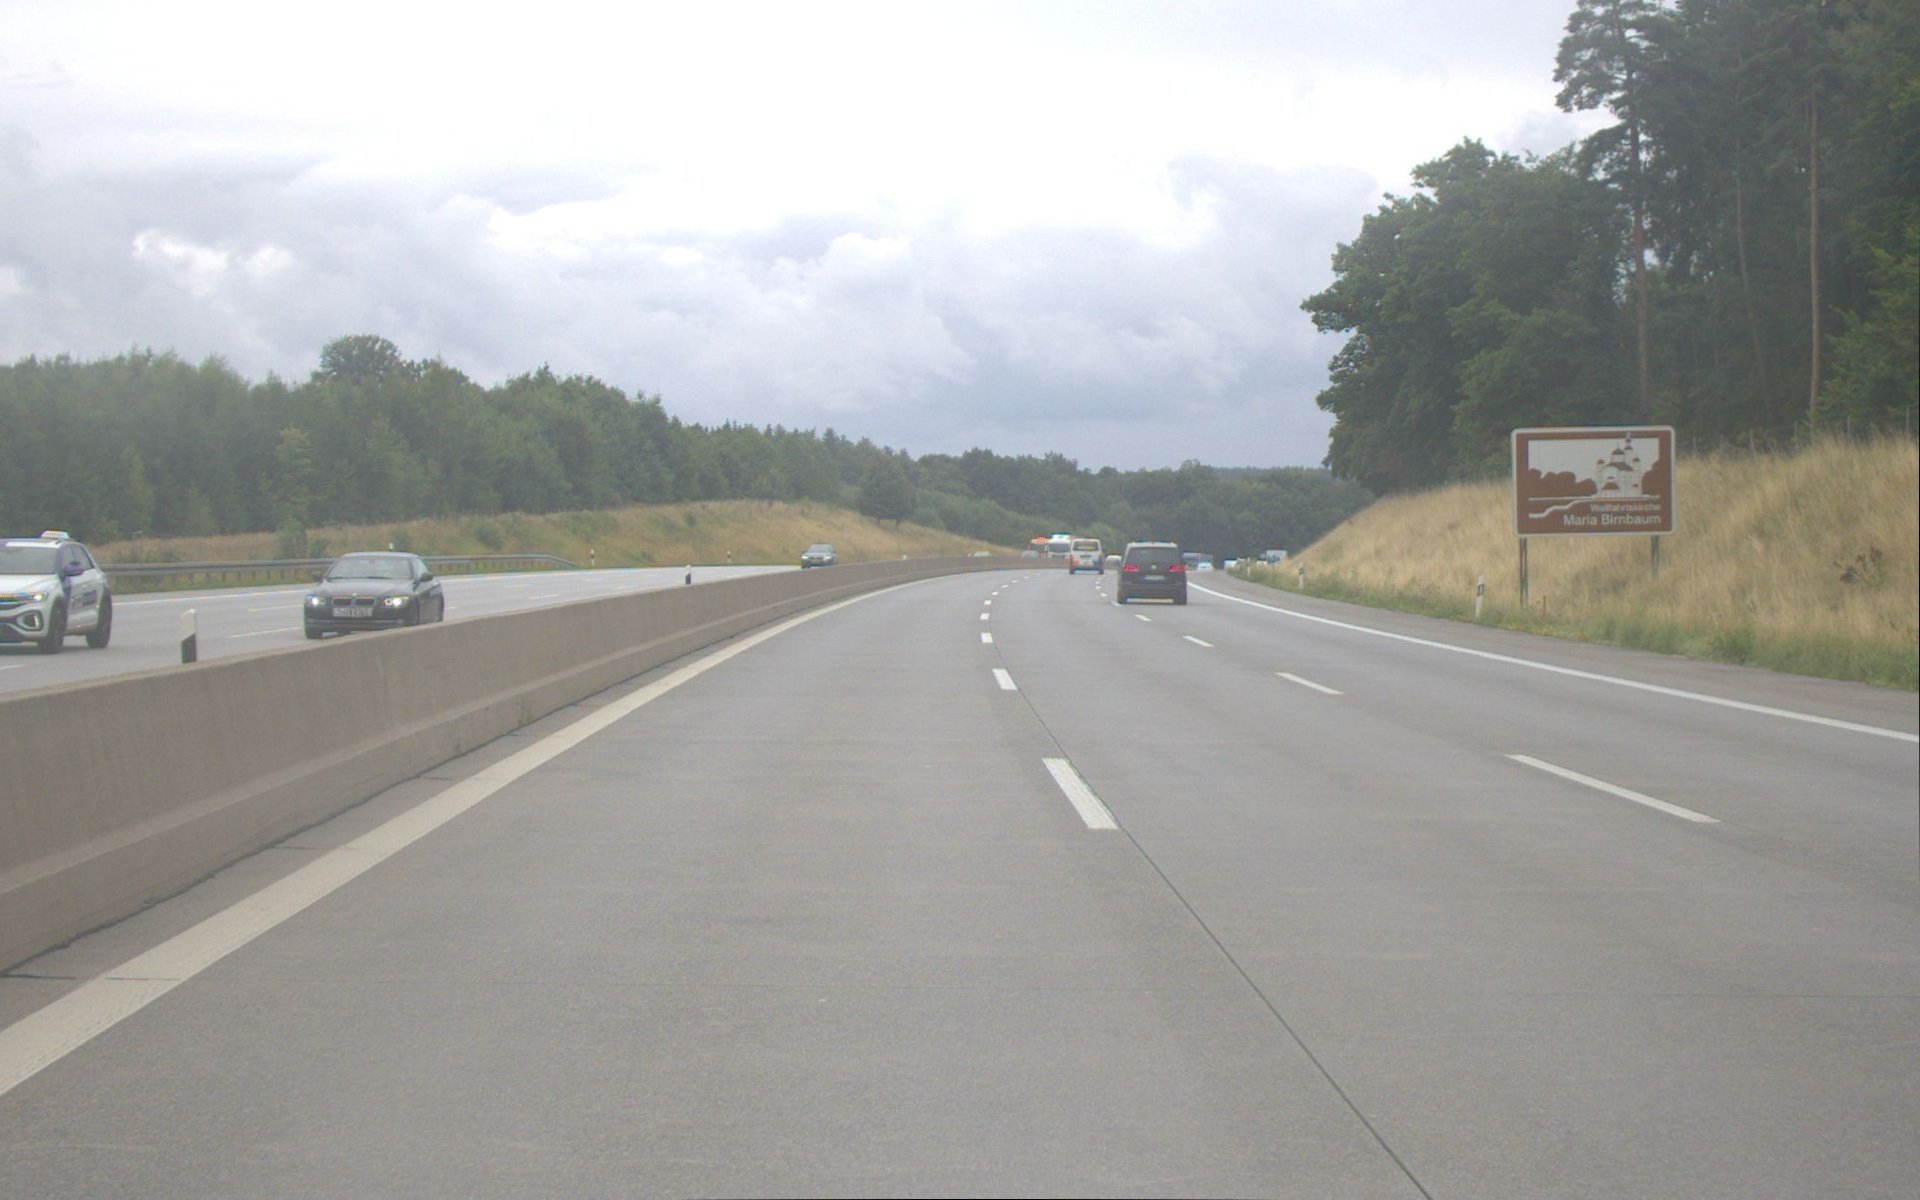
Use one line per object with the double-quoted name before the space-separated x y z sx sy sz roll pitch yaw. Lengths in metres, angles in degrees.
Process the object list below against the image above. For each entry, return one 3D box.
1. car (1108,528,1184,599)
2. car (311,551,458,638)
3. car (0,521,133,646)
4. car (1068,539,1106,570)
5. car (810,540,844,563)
"car" 5.078 -1.018 94.217 1.785 1.741 3.916 -2 2 0
"car" -9.288 -0.062 55.748 1.762 1.262 4.494 -1 -1 -2
"car" -12.947 -0.271 47.621 1.762 1.581 4.757 1 2 1
"car" 7.037 -2.535 191.005 1.841 1.495 4.001 -2 2 -1
"car" -7.797 -2.828 201.232 1.768 1.228 3.955 2 2 1
